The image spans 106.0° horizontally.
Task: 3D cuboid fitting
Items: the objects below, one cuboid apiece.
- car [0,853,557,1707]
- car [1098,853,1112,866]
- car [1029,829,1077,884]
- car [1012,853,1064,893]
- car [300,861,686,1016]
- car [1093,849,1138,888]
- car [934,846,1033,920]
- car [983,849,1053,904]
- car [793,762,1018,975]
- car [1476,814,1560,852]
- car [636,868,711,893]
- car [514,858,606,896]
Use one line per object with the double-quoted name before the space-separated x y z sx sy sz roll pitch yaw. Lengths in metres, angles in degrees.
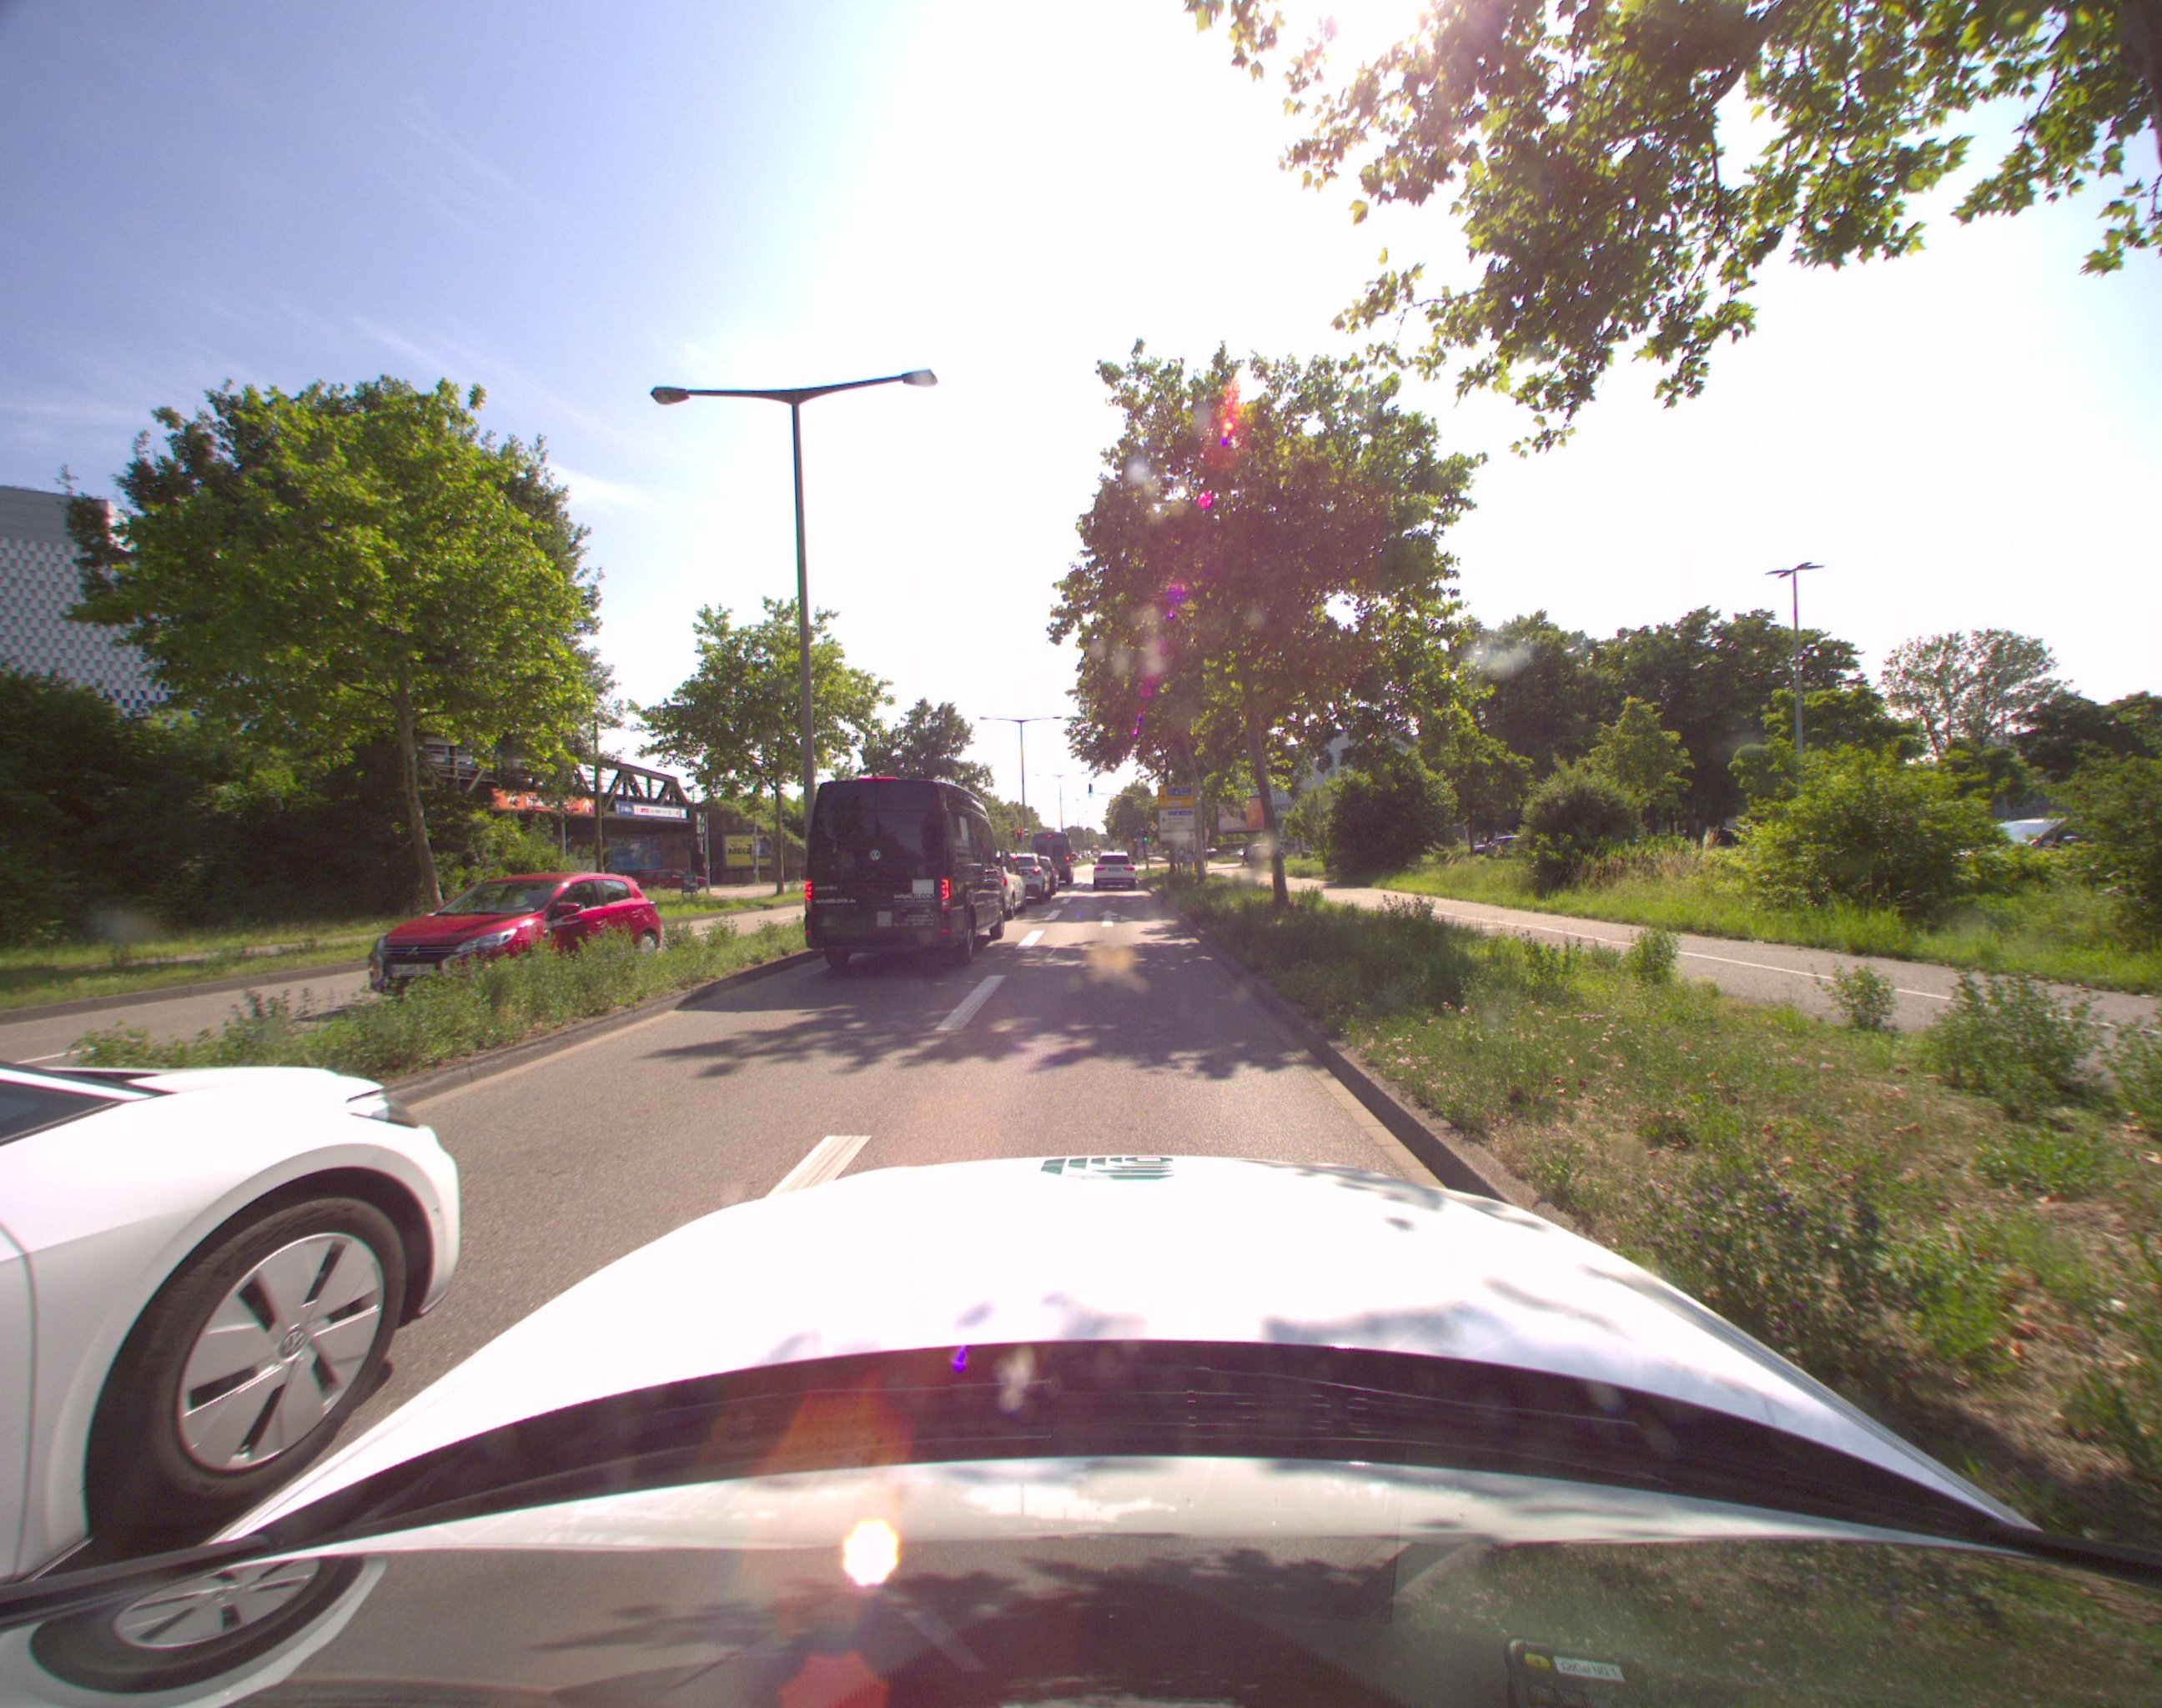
"car" -2.871 0.778 0.819 1.812 1.521 4.211 -1 0 2
"car" 2.725 0.620 92.735 1.458 1.404 3.478 -1 0 2
"car" -1.394 0.136 42.553 2.073 2.656 4.877 -1 0 3
"car" -1.662 0.721 32.551 1.685 1.505 3.888 0 0 2
"car" -7.322 0.930 10.805 1.845 1.583 4.180 -1 0 4
"car" 1.500 0.597 36.016 1.847 1.607 4.002 -1 0 2
"car" -2.361 0.679 20.744 1.764 1.647 4.355 -1 0 3
"car" -1.970 0.691 26.573 1.764 1.647 4.087 -1 0 3
"car" -2.414 0.200 13.175 2.008 2.607 6.172 -1 0 3
"car" 25.003 -1.191 46.639 2.011 2.013 3.751 -2 0 -41
"car" -27.287 1.748 54.583 4.347 1.426 1.471 -2 0 -33
"car" -35.300 1.523 55.341 5.158 2.418 1.979 -1 0 -33
